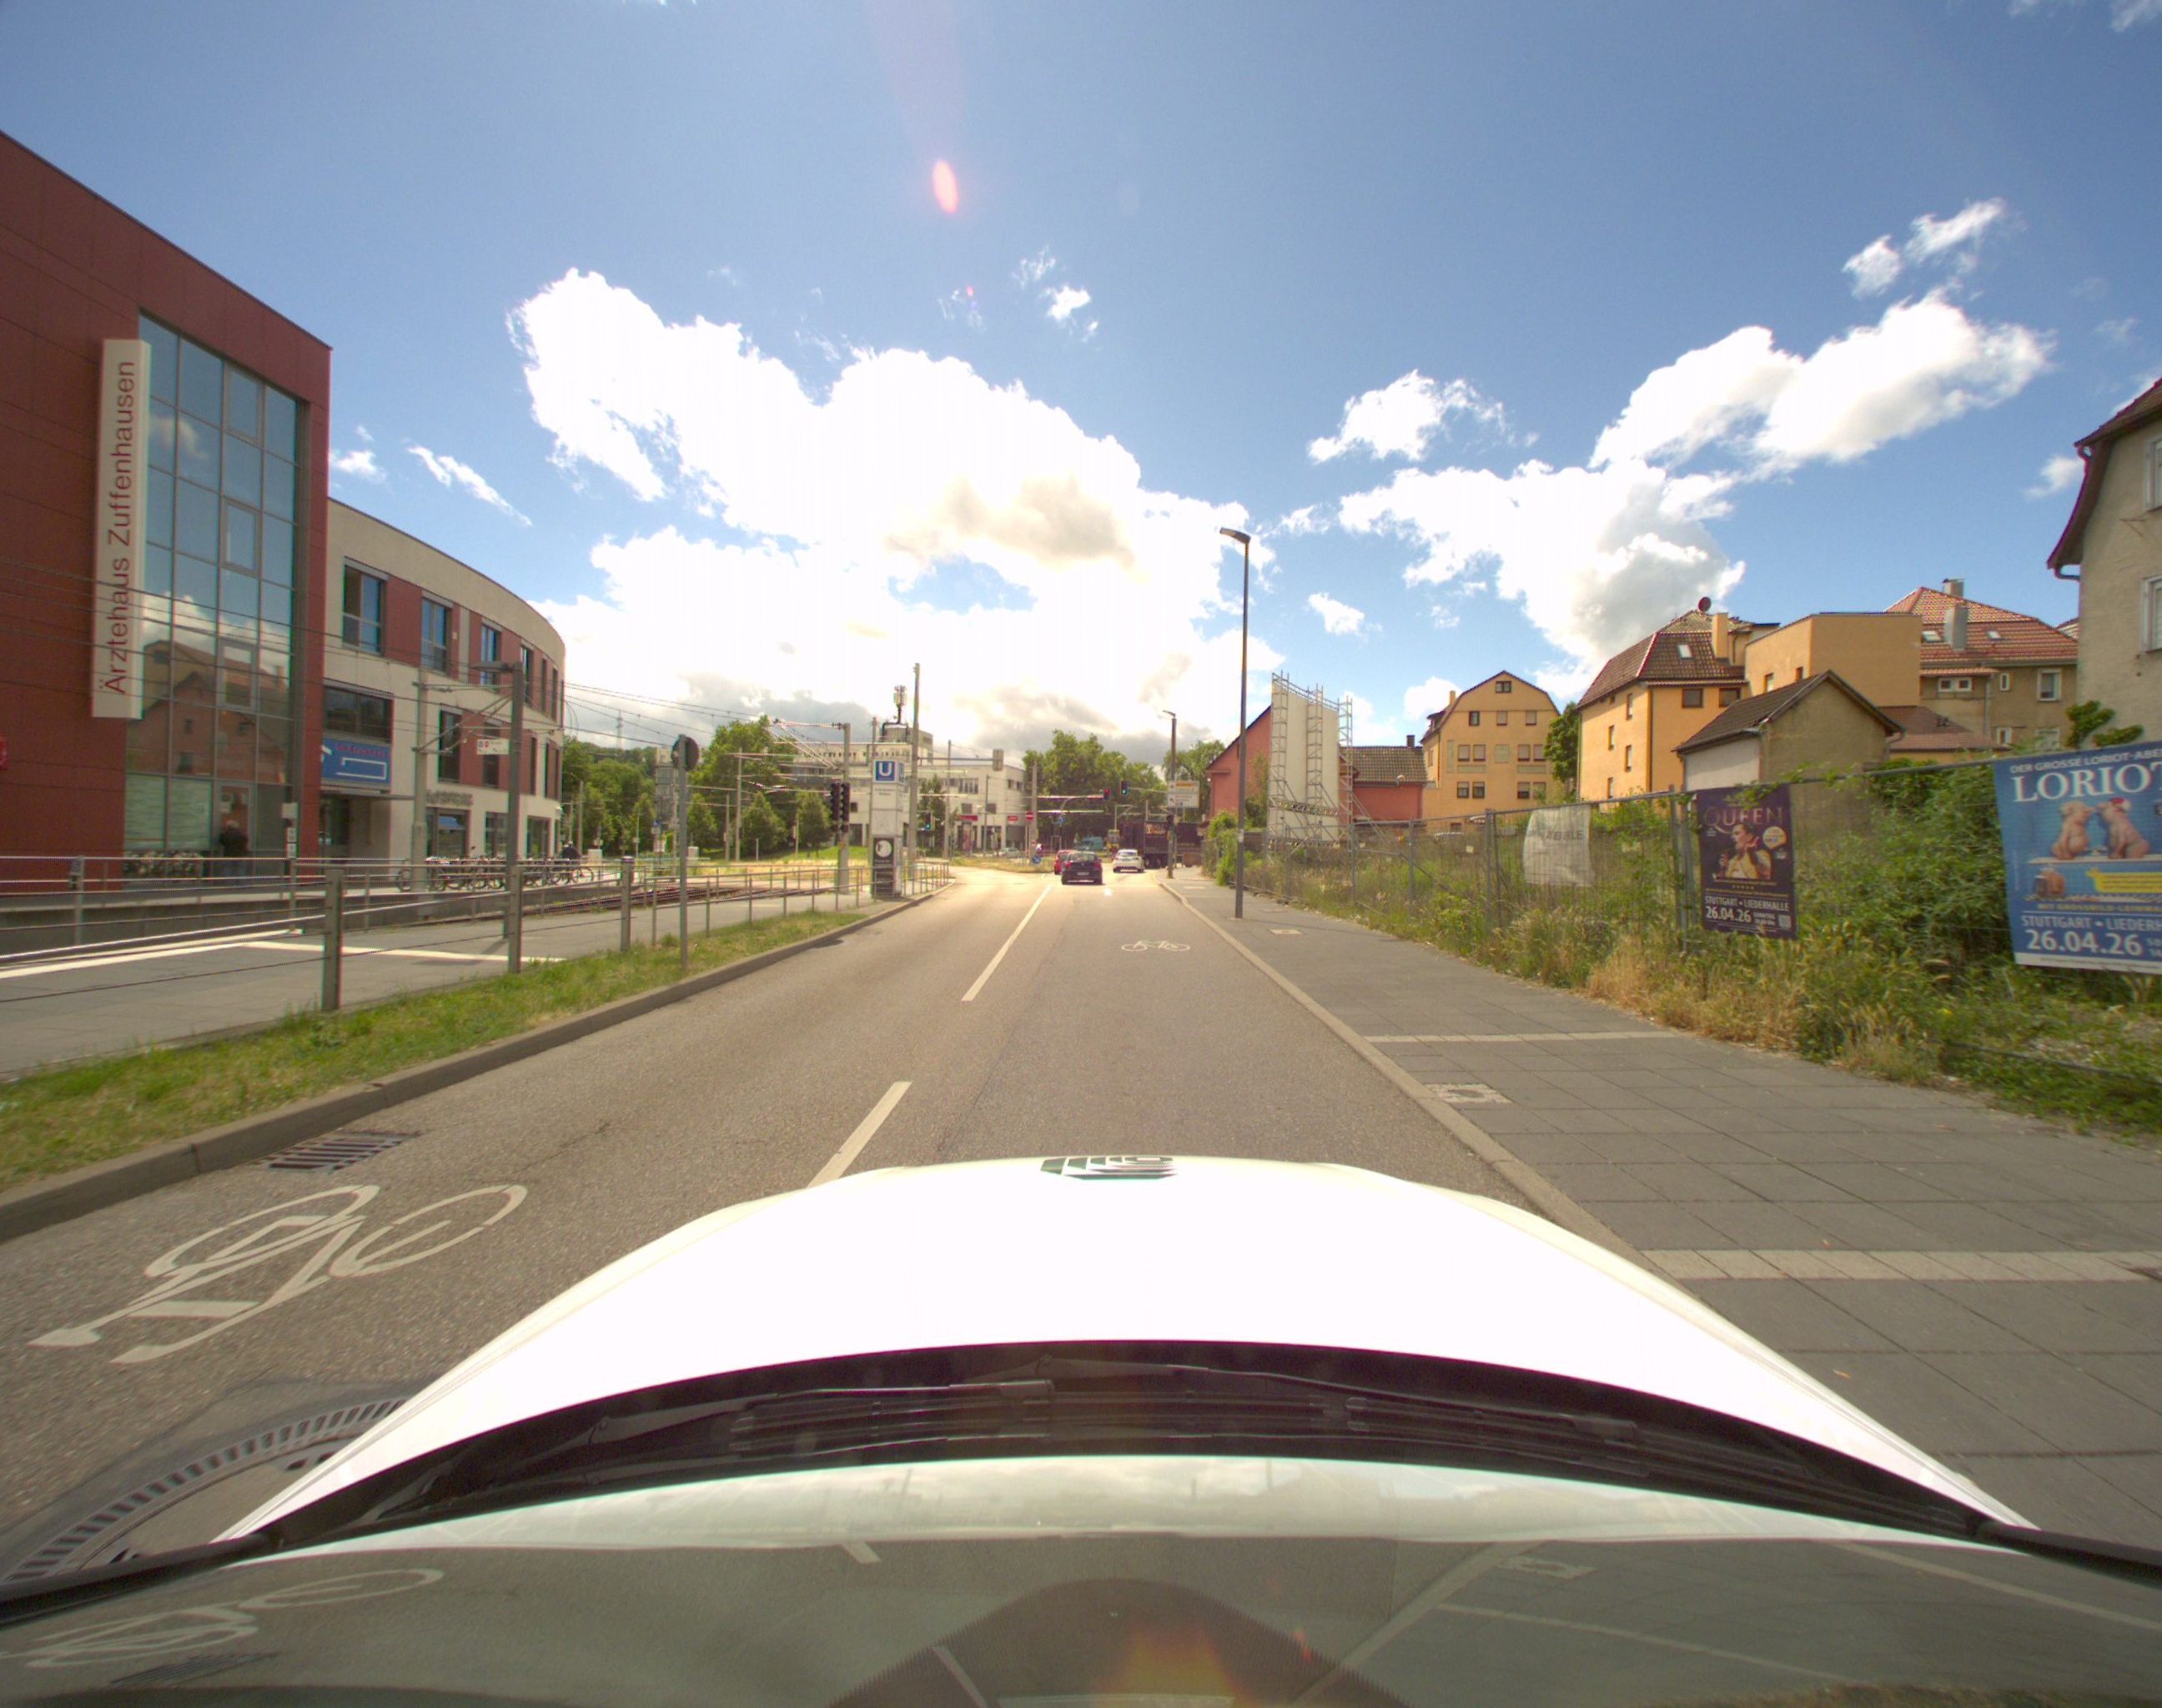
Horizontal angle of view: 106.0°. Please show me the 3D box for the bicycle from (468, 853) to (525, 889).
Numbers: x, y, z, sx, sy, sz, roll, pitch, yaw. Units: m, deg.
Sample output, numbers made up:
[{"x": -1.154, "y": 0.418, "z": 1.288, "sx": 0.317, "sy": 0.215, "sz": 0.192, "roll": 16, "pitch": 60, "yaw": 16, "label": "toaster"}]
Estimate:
[{"x": -18.333, "y": 0.526, "z": 25.562, "sx": 1.502, "sy": 1.101, "sz": 0.408, "roll": -1, "pitch": -2, "yaw": 0, "label": "bicycle"}]

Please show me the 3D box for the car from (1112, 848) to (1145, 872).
[{"x": 3.143, "y": 0.384, "z": 53.396, "sx": 1.878, "sy": 1.465, "sz": 4.077, "roll": 0, "pitch": 0, "yaw": 7, "label": "car"}]

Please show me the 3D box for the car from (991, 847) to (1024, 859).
[{"x": -9.476, "y": -0.126, "z": 105.268, "sx": 1.975, "sy": 1.464, "sz": 4.024, "roll": 1, "pitch": 0, "yaw": 42, "label": "car"}]

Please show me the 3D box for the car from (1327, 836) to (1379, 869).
[{"x": 9.725, "y": -0.066, "z": 29.254, "sx": 1.068, "sy": 1.121, "sz": 2.446, "roll": -1, "pitch": 1, "yaw": 1, "label": "car"}]

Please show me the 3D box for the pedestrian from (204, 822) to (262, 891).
[{"x": -23.198, "y": 0.079, "z": 22.289, "sx": 0.653, "sy": 1.851, "sz": 0.740, "roll": 2, "pitch": -2, "yaw": 3, "label": "pedestrian"}]

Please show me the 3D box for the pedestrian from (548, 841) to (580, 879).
[{"x": -22.207, "y": 0.249, "z": 34.996, "sx": 0.853, "sy": 1.572, "sz": 0.856, "roll": 3, "pitch": -2, "yaw": -14, "label": "pedestrian"}]

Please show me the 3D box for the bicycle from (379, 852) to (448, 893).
[{"x": -18.484, "y": 0.504, "z": 22.552, "sx": 1.561, "sy": 1.101, "sz": 0.408, "roll": -1, "pitch": -2, "yaw": 0, "label": "bicycle"}]

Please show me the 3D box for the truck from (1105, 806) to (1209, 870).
[{"x": 6.212, "y": -1.165, "z": 64.870, "sx": 3.173, "sy": 4.536, "sz": 9.081, "roll": 1, "pitch": -1, "yaw": 43, "label": "truck"}]

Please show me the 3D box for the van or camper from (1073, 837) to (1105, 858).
[{"x": 1.261, "y": -0.982, "z": 120.711, "sx": 2.155, "sy": 2.805, "sz": 6.103, "roll": 2, "pitch": -2, "yaw": 26, "label": "van or camper"}]

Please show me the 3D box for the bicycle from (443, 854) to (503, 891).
[{"x": -18.468, "y": 0.555, "z": 24.763, "sx": 1.502, "sy": 1.101, "sz": 0.408, "roll": -1, "pitch": -2, "yaw": 0, "label": "bicycle"}]

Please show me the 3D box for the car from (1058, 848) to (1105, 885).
[{"x": -0.021, "y": 0.507, "z": 35.371, "sx": 1.723, "sy": 1.456, "sz": 3.802, "roll": 0, "pitch": 1, "yaw": -5, "label": "car"}]

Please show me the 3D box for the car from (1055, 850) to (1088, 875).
[{"x": -0.513, "y": 0.475, "z": 48.630, "sx": 1.704, "sy": 1.393, "sz": 3.812, "roll": 0, "pitch": 1, "yaw": 3, "label": "car"}]

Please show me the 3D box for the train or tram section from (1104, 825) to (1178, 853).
[{"x": 8.956, "y": -2.142, "z": 117.054, "sx": 2.671, "sy": 3.750, "sz": 18.476, "roll": 1, "pitch": 1, "yaw": 30, "label": "train or tram section"}]

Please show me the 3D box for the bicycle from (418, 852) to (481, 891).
[{"x": -18.392, "y": 0.512, "z": 23.730, "sx": 1.502, "sy": 1.101, "sz": 0.408, "roll": -1, "pitch": -2, "yaw": 0, "label": "bicycle"}]

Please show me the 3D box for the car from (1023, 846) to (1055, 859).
[{"x": -5.683, "y": -0.218, "z": 109.950, "sx": 1.975, "sy": 1.600, "sz": 4.225, "roll": 1, "pitch": 1, "yaw": 41, "label": "car"}]

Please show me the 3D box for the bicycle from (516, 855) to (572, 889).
[{"x": -18.243, "y": 0.620, "z": 27.673, "sx": 1.561, "sy": 1.101, "sz": 0.515, "roll": -1, "pitch": -2, "yaw": 0, "label": "bicycle"}]

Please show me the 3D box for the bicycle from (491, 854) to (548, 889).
[{"x": -18.412, "y": 0.563, "z": 26.710, "sx": 1.502, "sy": 1.101, "sz": 0.492, "roll": -1, "pitch": -2, "yaw": 0, "label": "bicycle"}]

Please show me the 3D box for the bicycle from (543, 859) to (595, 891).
[{"x": -18.474, "y": 0.756, "z": 29.411, "sx": 1.561, "sy": 1.101, "sz": 0.515, "roll": -1, "pitch": -2, "yaw": 0, "label": "bicycle"}]
